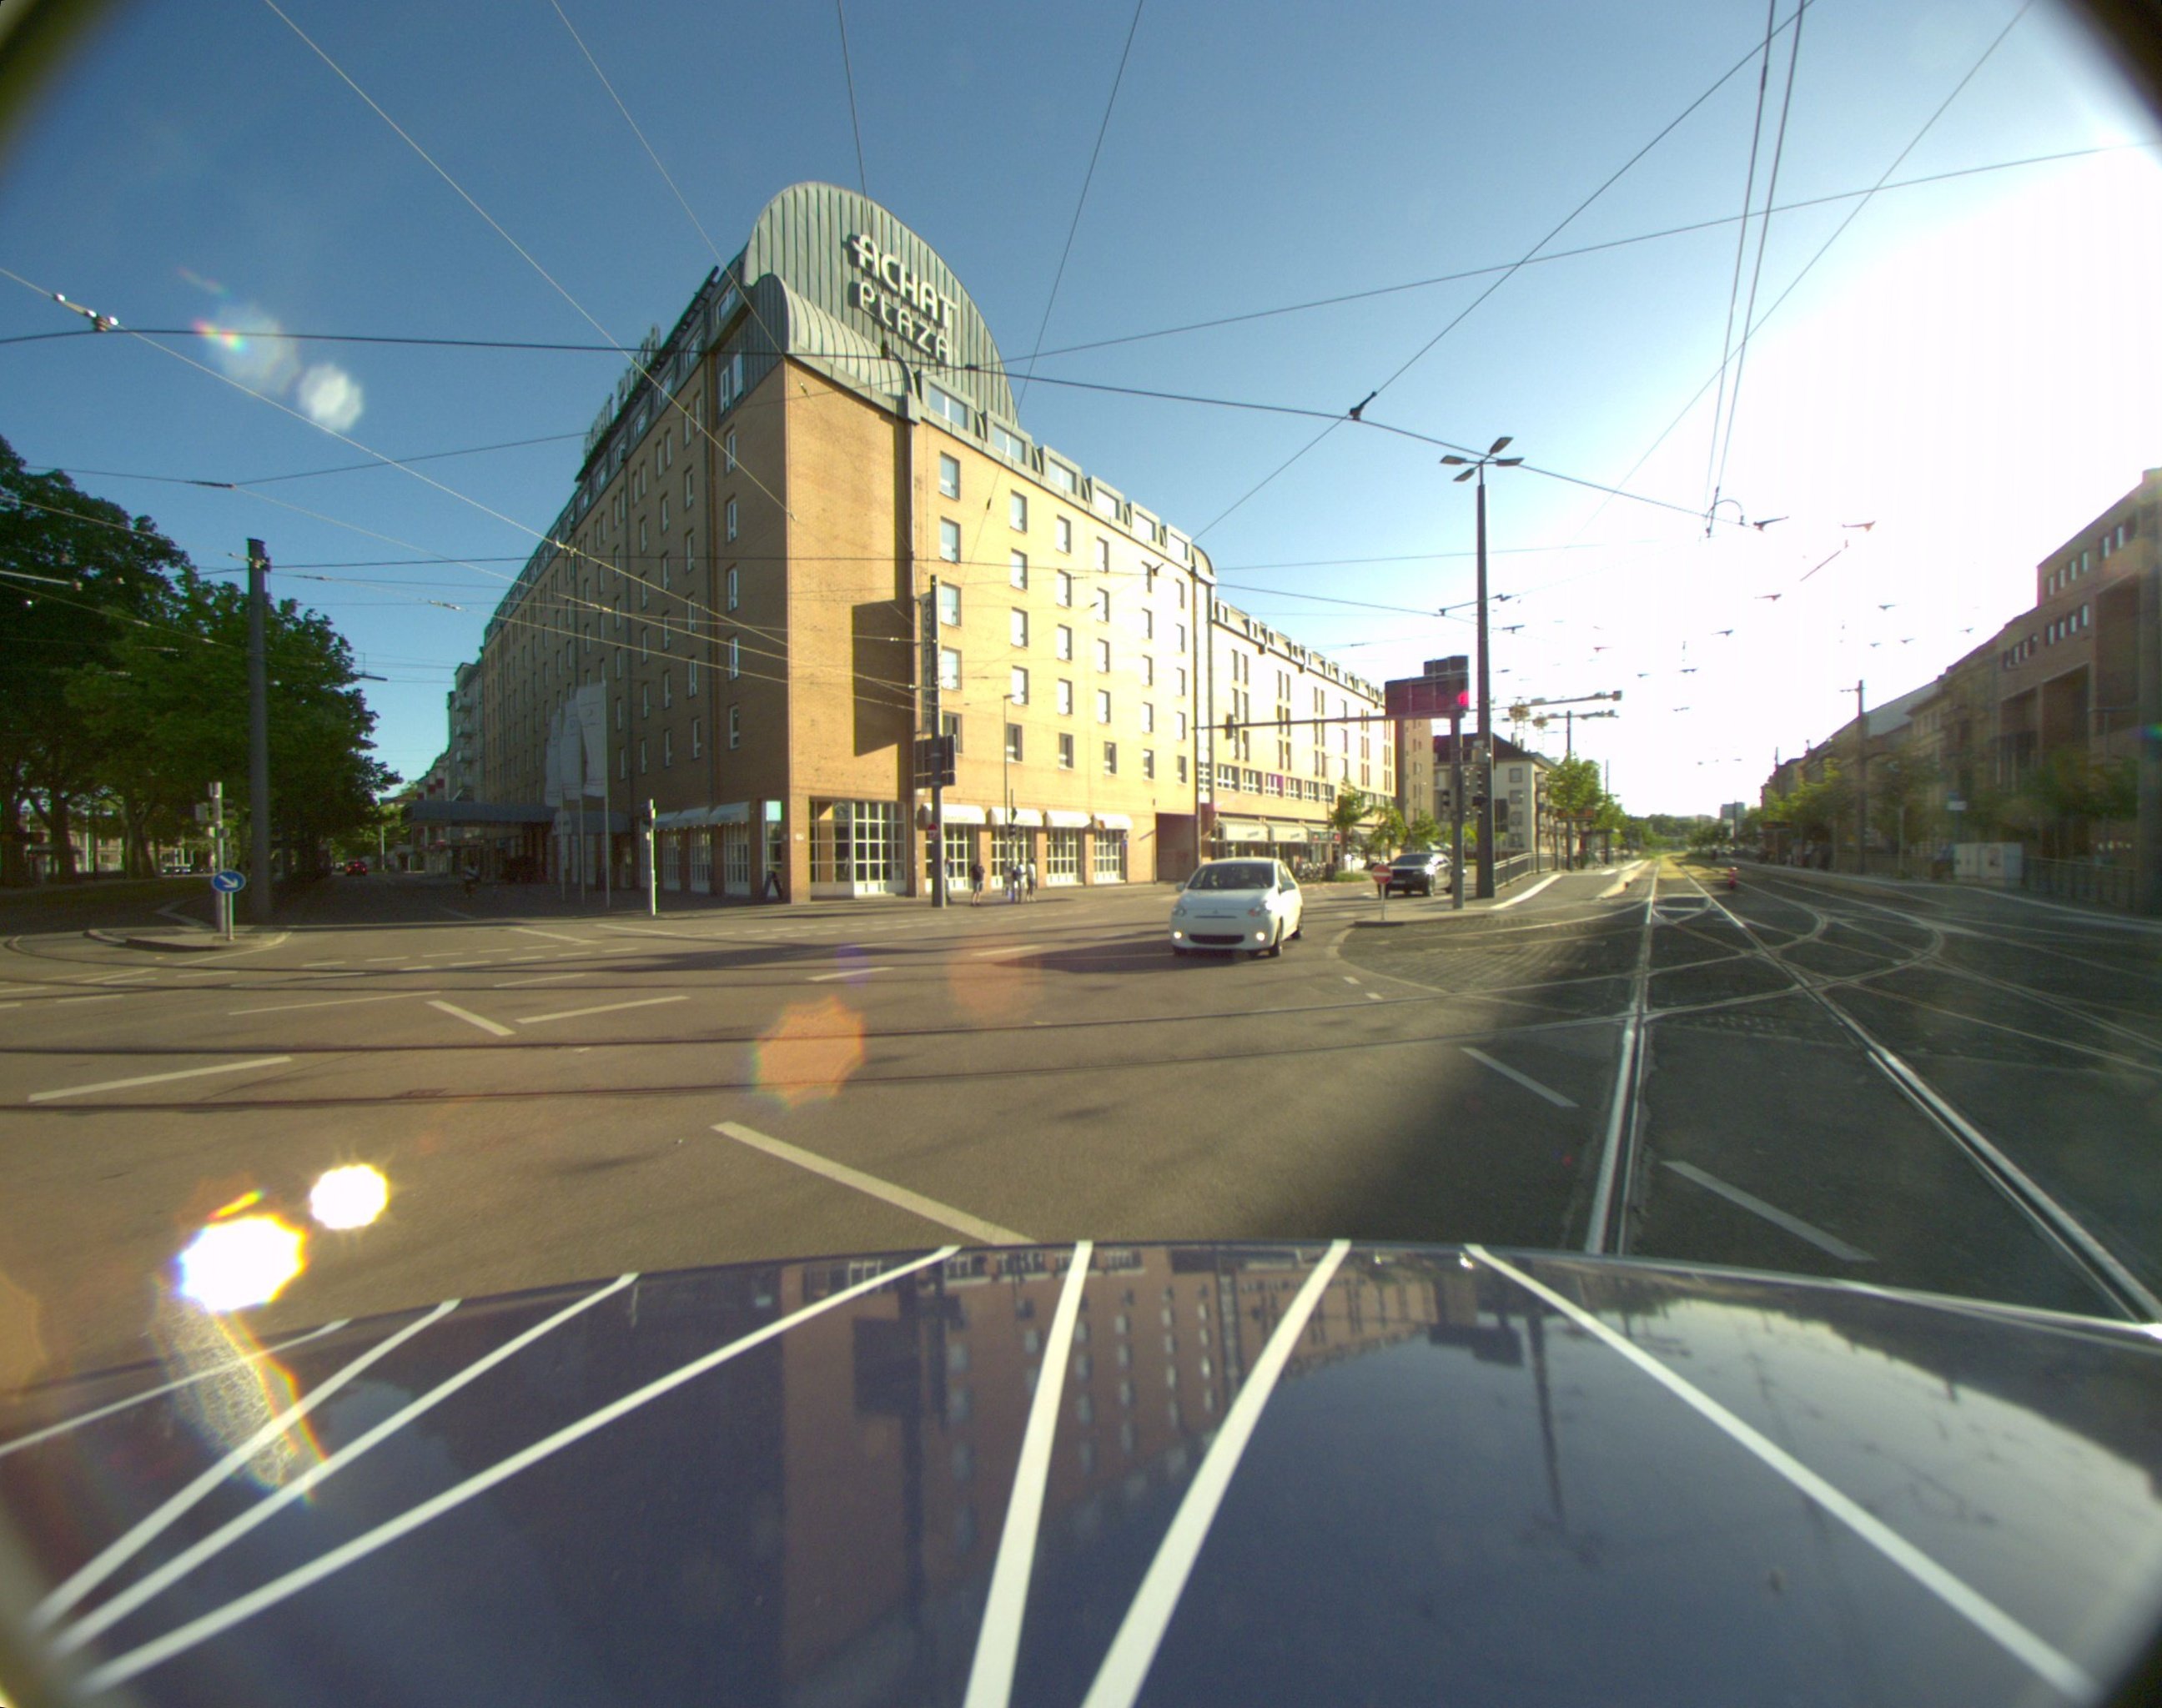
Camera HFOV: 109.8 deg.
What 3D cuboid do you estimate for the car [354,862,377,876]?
[{"bbox_3d":[-89.106,1.814,94.660,1.930,1.659,3.746,0,0,-42],"label":"car"}]

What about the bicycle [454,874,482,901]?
[{"bbox_3d":[-25.096,1.354,31.096,0.793,1.045,1.918,-3,1,-41],"label":"bicycle"}]

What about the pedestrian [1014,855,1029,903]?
[{"bbox_3d":[-2.303,0.965,29.574,0.497,1.823,0.733,0,3,3],"label":"pedestrian"}]

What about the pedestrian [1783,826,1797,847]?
[{"bbox_3d":[52.970,-1.329,56.794,0.691,1.566,0.587,0,2,35],"label":"pedestrian"}]

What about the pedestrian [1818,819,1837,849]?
[{"bbox_3d":[43.995,-1.175,44.761,0.691,1.732,0.587,0,2,35],"label":"pedestrian"}]

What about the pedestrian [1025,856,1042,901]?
[{"bbox_3d":[-1.886,0.978,30.420,0.580,1.765,0.404,-1,3,-24],"label":"pedestrian"}]

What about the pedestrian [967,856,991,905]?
[{"bbox_3d":[-3.795,0.978,28.226,0.695,1.757,0.572,-1,0,-25],"label":"pedestrian"}]

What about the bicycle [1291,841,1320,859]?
[{"bbox_3d":[15.016,-0.268,50.843,1.770,1.135,0.554,2,4,41],"label":"bicycle"}]

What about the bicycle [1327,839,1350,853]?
[{"bbox_3d":[21.591,-0.677,63.590,1.884,1.045,0.601,1,4,-26],"label":"bicycle"}]

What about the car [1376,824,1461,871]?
[{"bbox_3d":[13.118,-0.267,29.402,1.951,1.652,4.364,-2,1,38],"label":"car"}]

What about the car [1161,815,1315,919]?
[{"bbox_3d":[2.806,0.156,12.817,1.637,1.458,4.193,-1,1,24],"label":"car"}]

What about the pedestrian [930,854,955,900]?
[{"bbox_3d":[-5.288,0.885,29.014,0.602,1.717,0.604,-1,1,40],"label":"pedestrian"}]

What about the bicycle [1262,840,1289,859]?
[{"bbox_3d":[12.639,-0.296,49.406,0.554,1.142,1.771,-3,3,-31],"label":"bicycle"}]

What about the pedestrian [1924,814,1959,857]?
[{"bbox_3d":[31.440,-0.664,27.784,0.700,1.526,0.655,0,2,35],"label":"pedestrian"}]

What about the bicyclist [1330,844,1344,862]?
[{"bbox_3d":[21.399,-0.096,63.530,0.851,1.507,0.579,1,3,-25],"label":"bicyclist"}]

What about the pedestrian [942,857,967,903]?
[{"bbox_3d":[-4.756,0.966,28.615,0.561,1.694,0.660,-1,1,39],"label":"pedestrian"}]

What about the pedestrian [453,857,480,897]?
[{"bbox_3d":[-25.166,0.935,31.128,0.773,1.585,0.836,-3,1,-41],"label":"pedestrian"}]

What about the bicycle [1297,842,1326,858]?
[{"bbox_3d":[15.738,-0.299,51.842,1.770,1.066,0.738,2,4,41],"label":"bicycle"}]

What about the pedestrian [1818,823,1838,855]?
[{"bbox_3d":[40.762,-0.802,41.476,0.691,1.732,0.587,0,2,35],"label":"pedestrian"}]

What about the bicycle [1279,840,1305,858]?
[{"bbox_3d":[13.911,-0.352,50.159,0.554,1.142,1.771,-3,3,-31],"label":"bicycle"}]

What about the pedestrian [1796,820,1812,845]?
[{"bbox_3d":[49.846,-1.465,52.391,0.691,1.732,0.587,0,2,35],"label":"pedestrian"}]
